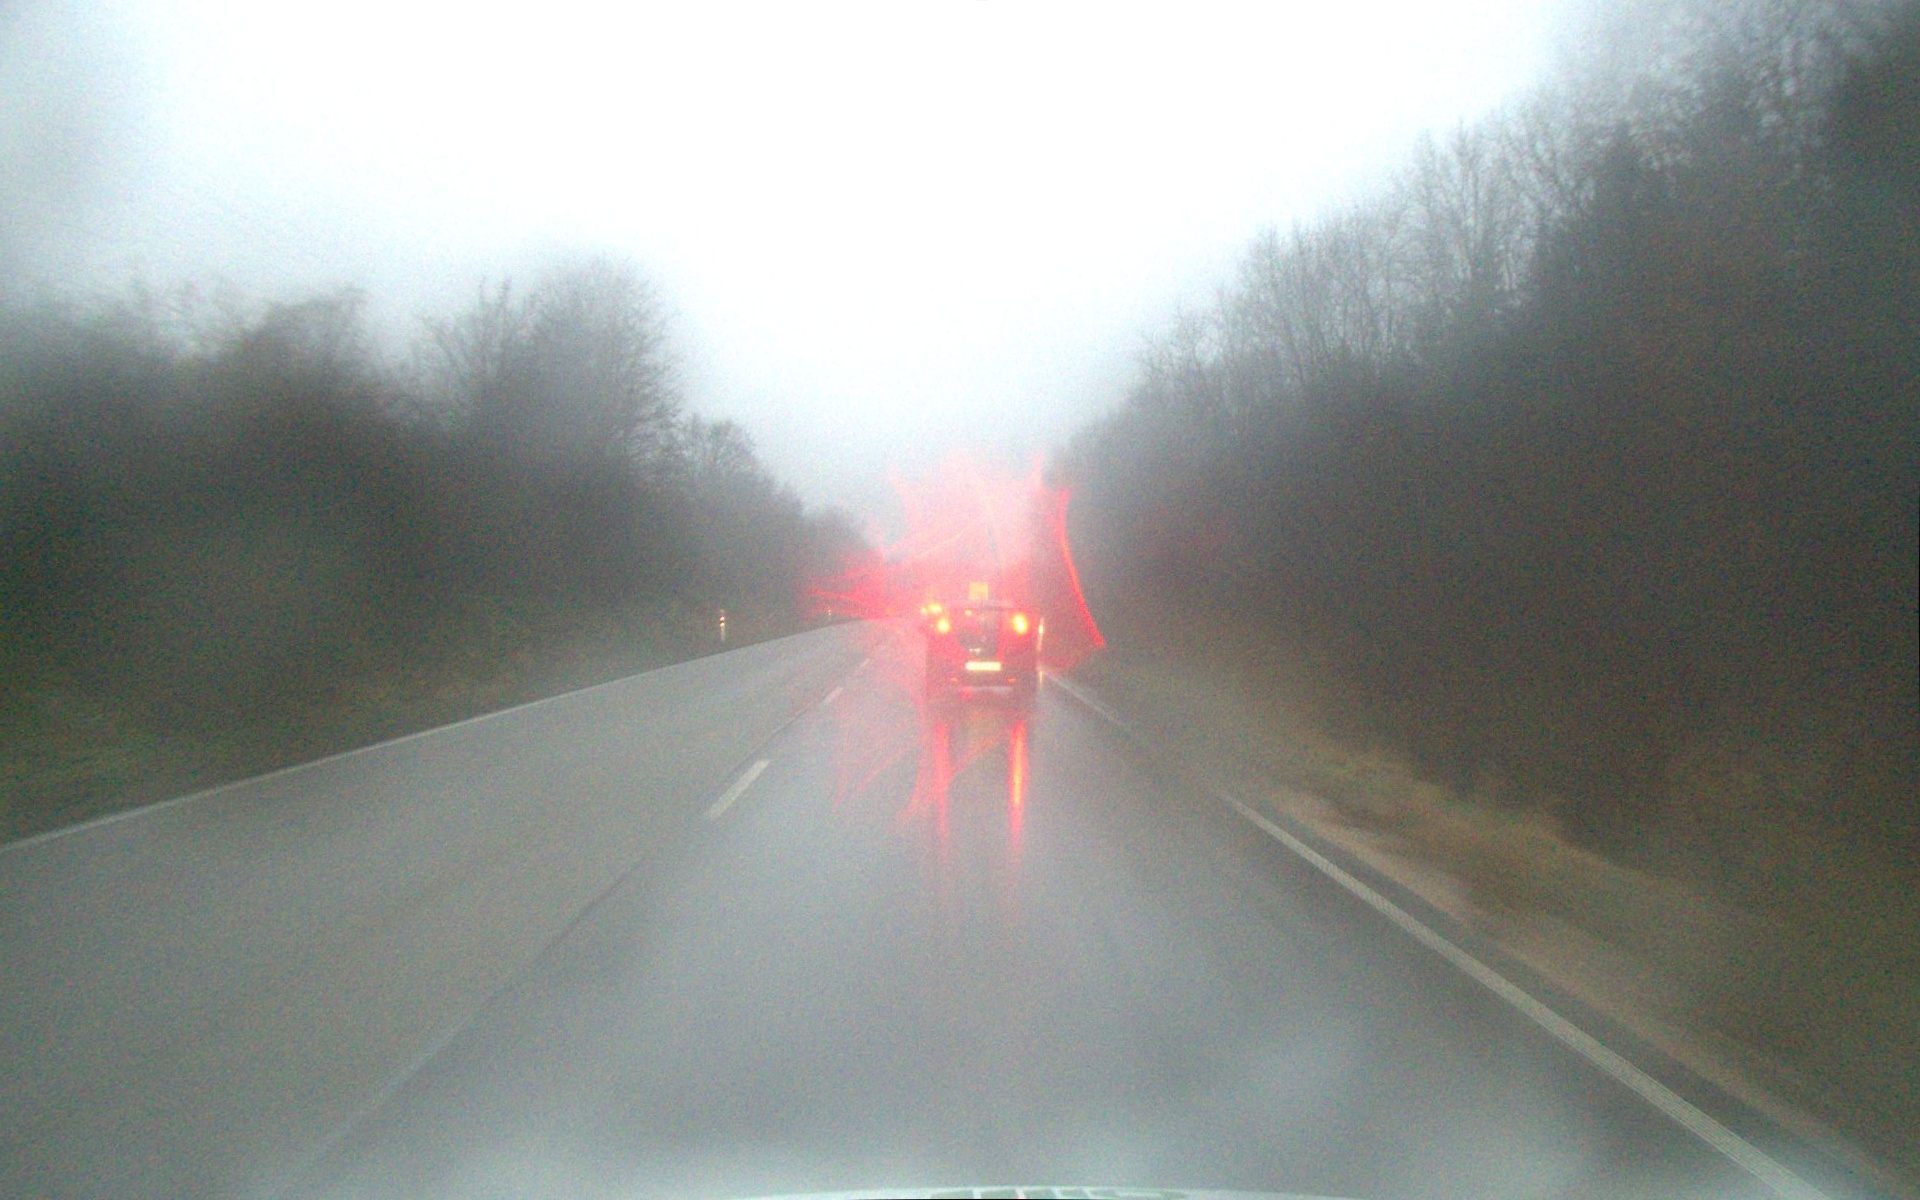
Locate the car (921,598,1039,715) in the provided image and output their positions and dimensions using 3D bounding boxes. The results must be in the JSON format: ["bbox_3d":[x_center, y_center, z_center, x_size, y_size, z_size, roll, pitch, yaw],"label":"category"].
[{"bbox_3d":[0.303,0.837,26.008,1.692,1.672,4.000,1,0,0],"label":"car"}]

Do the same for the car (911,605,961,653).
[{"bbox_3d":[-0.851,1.019,59.850,1.692,1.672,4.000,1,0,0],"label":"car"}]
